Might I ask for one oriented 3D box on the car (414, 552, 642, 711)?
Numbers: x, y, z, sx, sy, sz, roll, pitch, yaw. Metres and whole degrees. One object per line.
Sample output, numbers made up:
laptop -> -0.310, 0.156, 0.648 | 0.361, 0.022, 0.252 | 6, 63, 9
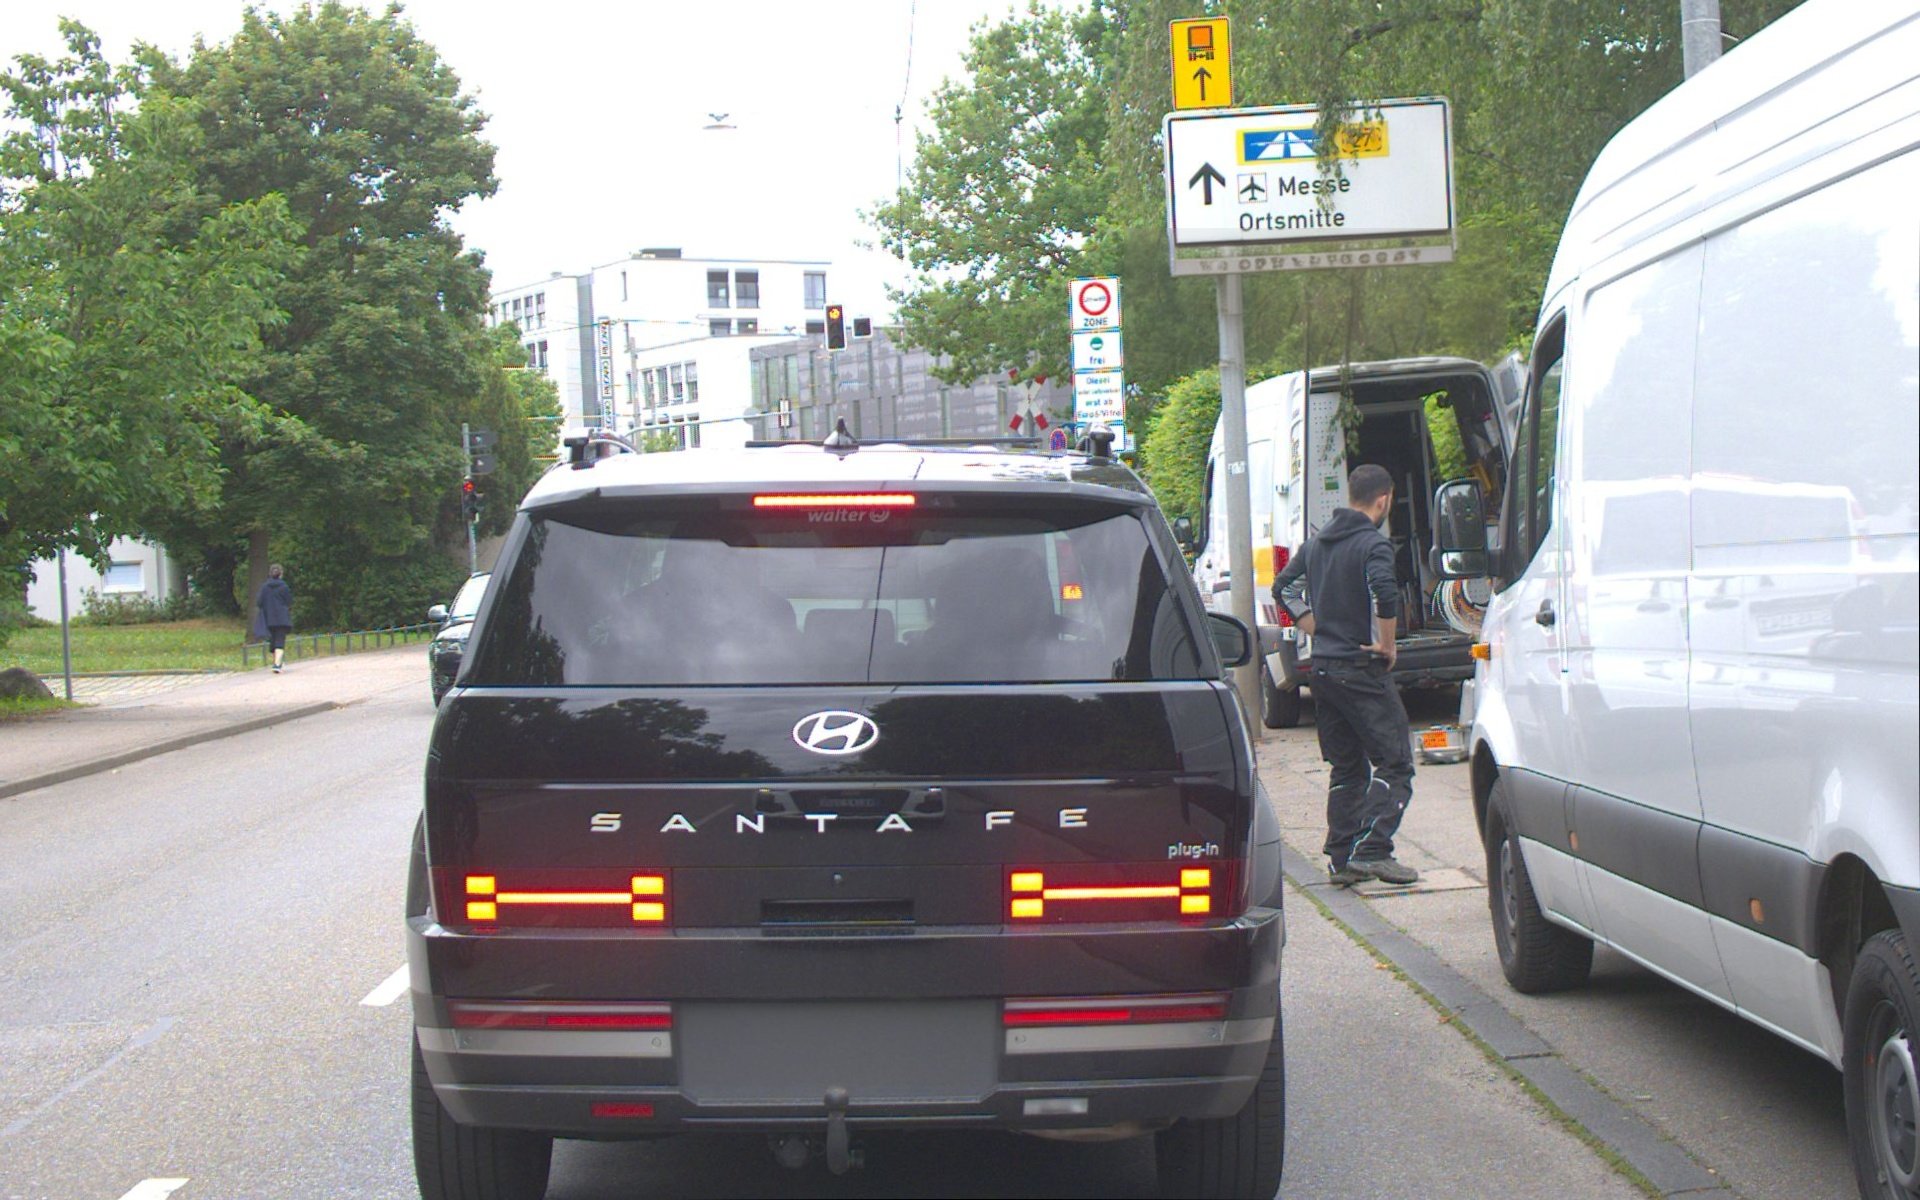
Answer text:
car -> -4.534, 0.286, 36.630 | 1.859, 1.448, 4.111 | -4, 1, -1

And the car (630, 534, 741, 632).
car -> -5.144, -0.345, 64.821 | 1.785, 1.648, 4.121 | -4, 1, -2

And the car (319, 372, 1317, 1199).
car -> -0.289, 0.444, 8.549 | 1.889, 1.813, 4.000 | 0, 1, -1

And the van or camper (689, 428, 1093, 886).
van or camper -> -0.331, 0.225, 17.492 | 1.754, 2.007, 4.000 | -2, 1, -1

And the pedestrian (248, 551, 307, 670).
pedestrian -> -10.067, 0.145, 50.732 | 0.738, 1.709, 0.793 | -2, 1, -7

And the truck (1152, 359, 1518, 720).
truck -> 2.914, -0.470, 27.976 | 1.942, 2.553, 5.217 | -4, 1, -4

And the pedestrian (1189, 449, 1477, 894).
pedestrian -> 1.569, 0.279, 14.447 | 0.870, 1.791, 0.759 | -3, 1, -41

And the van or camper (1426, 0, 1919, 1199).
van or camper -> 2.619, -0.081, 8.136 | 1.993, 2.611, 6.541 | -2, 1, -1
